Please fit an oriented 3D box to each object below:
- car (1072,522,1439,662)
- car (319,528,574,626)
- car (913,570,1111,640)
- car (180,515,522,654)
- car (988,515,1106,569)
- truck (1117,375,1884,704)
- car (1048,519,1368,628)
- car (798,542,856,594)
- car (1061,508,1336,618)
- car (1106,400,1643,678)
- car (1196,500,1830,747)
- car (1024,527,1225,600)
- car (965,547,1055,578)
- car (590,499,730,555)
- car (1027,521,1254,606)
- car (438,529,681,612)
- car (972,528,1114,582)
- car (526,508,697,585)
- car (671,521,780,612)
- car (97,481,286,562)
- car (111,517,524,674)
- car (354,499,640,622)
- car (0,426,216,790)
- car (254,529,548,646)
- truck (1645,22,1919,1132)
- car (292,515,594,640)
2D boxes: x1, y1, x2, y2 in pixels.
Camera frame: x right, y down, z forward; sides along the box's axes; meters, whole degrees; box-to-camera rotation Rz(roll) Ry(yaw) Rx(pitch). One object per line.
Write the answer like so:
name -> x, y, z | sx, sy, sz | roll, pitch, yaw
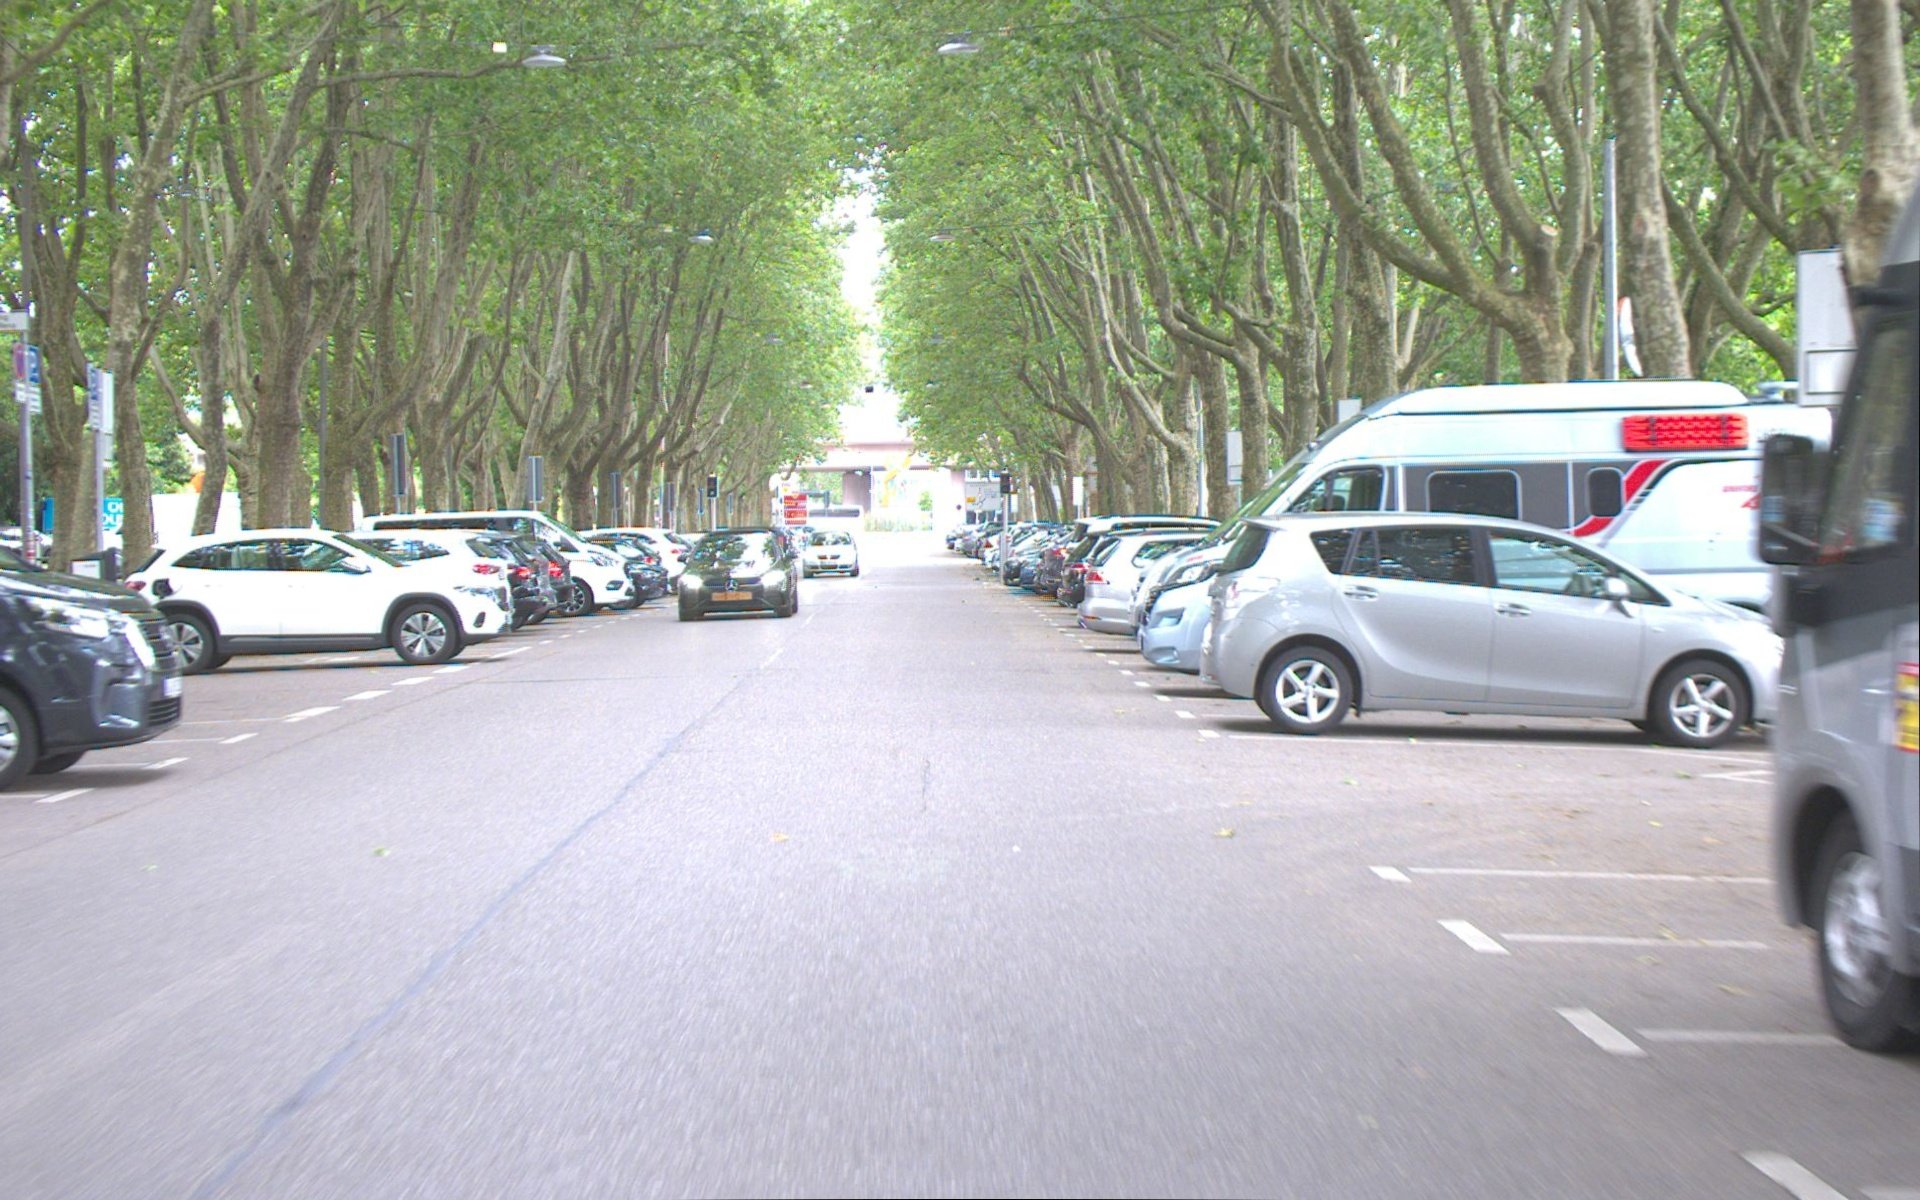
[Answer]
car -> 3.416, -0.101, 40.283 | 4.119, 1.424, 1.703 | 2, 1, 1
car -> -8.513, -0.398, 57.222 | 3.986, 1.408, 1.683 | -3, 1, -3
car -> 1.106, 0.093, 74.519 | 4.211, 1.446, 1.611 | 1, 1, -2
car -> -8.352, -0.232, 47.447 | 4.340, 1.662, 2.000 | -3, 1, -2
car -> 2.778, -1.863, 110.297 | 3.645, 1.661, 1.519 | 0, 1, -4
truck -> 4.593, -0.527, 29.946 | 6.293, 2.706, 2.098 | 1, 1, -1
car -> 3.608, -0.394, 50.494 | 4.501, 1.520, 1.703 | 1, 1, -2
car -> -4.095, -0.999, 105.430 | 1.689, 1.466, 3.840 | -2, 1, -2
car -> 3.956, -0.629, 57.483 | 4.384, 1.749, 1.801 | 1, 1, -2
car -> 4.177, -0.631, 35.317 | 5.228, 2.680, 1.957 | 1, 1, 0
car -> 3.946, 0.145, 25.113 | 4.340, 1.612, 1.803 | 2, 1, 2
car -> 3.221, -0.736, 67.875 | 3.826, 1.384, 1.695 | 1, 1, -2
car -> 2.388, -1.779, 164.109 | 4.176, 1.437, 1.731 | 0, 1, 4
car -> -8.456, -2.065, 97.158 | 3.826, 1.425, 1.695 | -2, 1, -3
car -> 3.269, -0.672, 62.664 | 3.986, 1.481, 1.695 | 1, 1, -2
car -> -7.844, -0.595, 67.578 | 4.449, 1.447, 1.774 | -2, 1, 4
car -> 2.520, -1.382, 105.108 | 4.166, 1.591, 1.855 | 0, 1, -4
car -> -8.052, -1.243, 79.750 | 3.826, 1.622, 1.953 | -2, 1, -3
car -> -3.877, -0.571, 56.645 | 1.654, 1.359, 4.113 | -3, 1, -4
car -> -25.259, -2.596, 113.120 | 5.786, 2.588, 2.000 | 1, 1, 0
car -> -7.346, -0.077, 39.639 | 4.379, 1.591, 2.000 | -2, 1, -2
car -> -8.372, -0.732, 62.431 | 4.893, 2.012, 1.920 | -2, 1, -1
car -> -7.557, 0.108, 21.263 | 5.435, 2.120, 1.940 | -2, 2, -2
car -> -8.144, -0.199, 50.341 | 3.986, 1.470, 1.843 | -3, 1, -3
truck -> 4.035, -0.016, 7.503 | 2.458, 2.927, 7.540 | 0, 1, -9
car -> -7.909, -0.365, 52.919 | 4.340, 1.662, 2.000 | -3, 1, -2
